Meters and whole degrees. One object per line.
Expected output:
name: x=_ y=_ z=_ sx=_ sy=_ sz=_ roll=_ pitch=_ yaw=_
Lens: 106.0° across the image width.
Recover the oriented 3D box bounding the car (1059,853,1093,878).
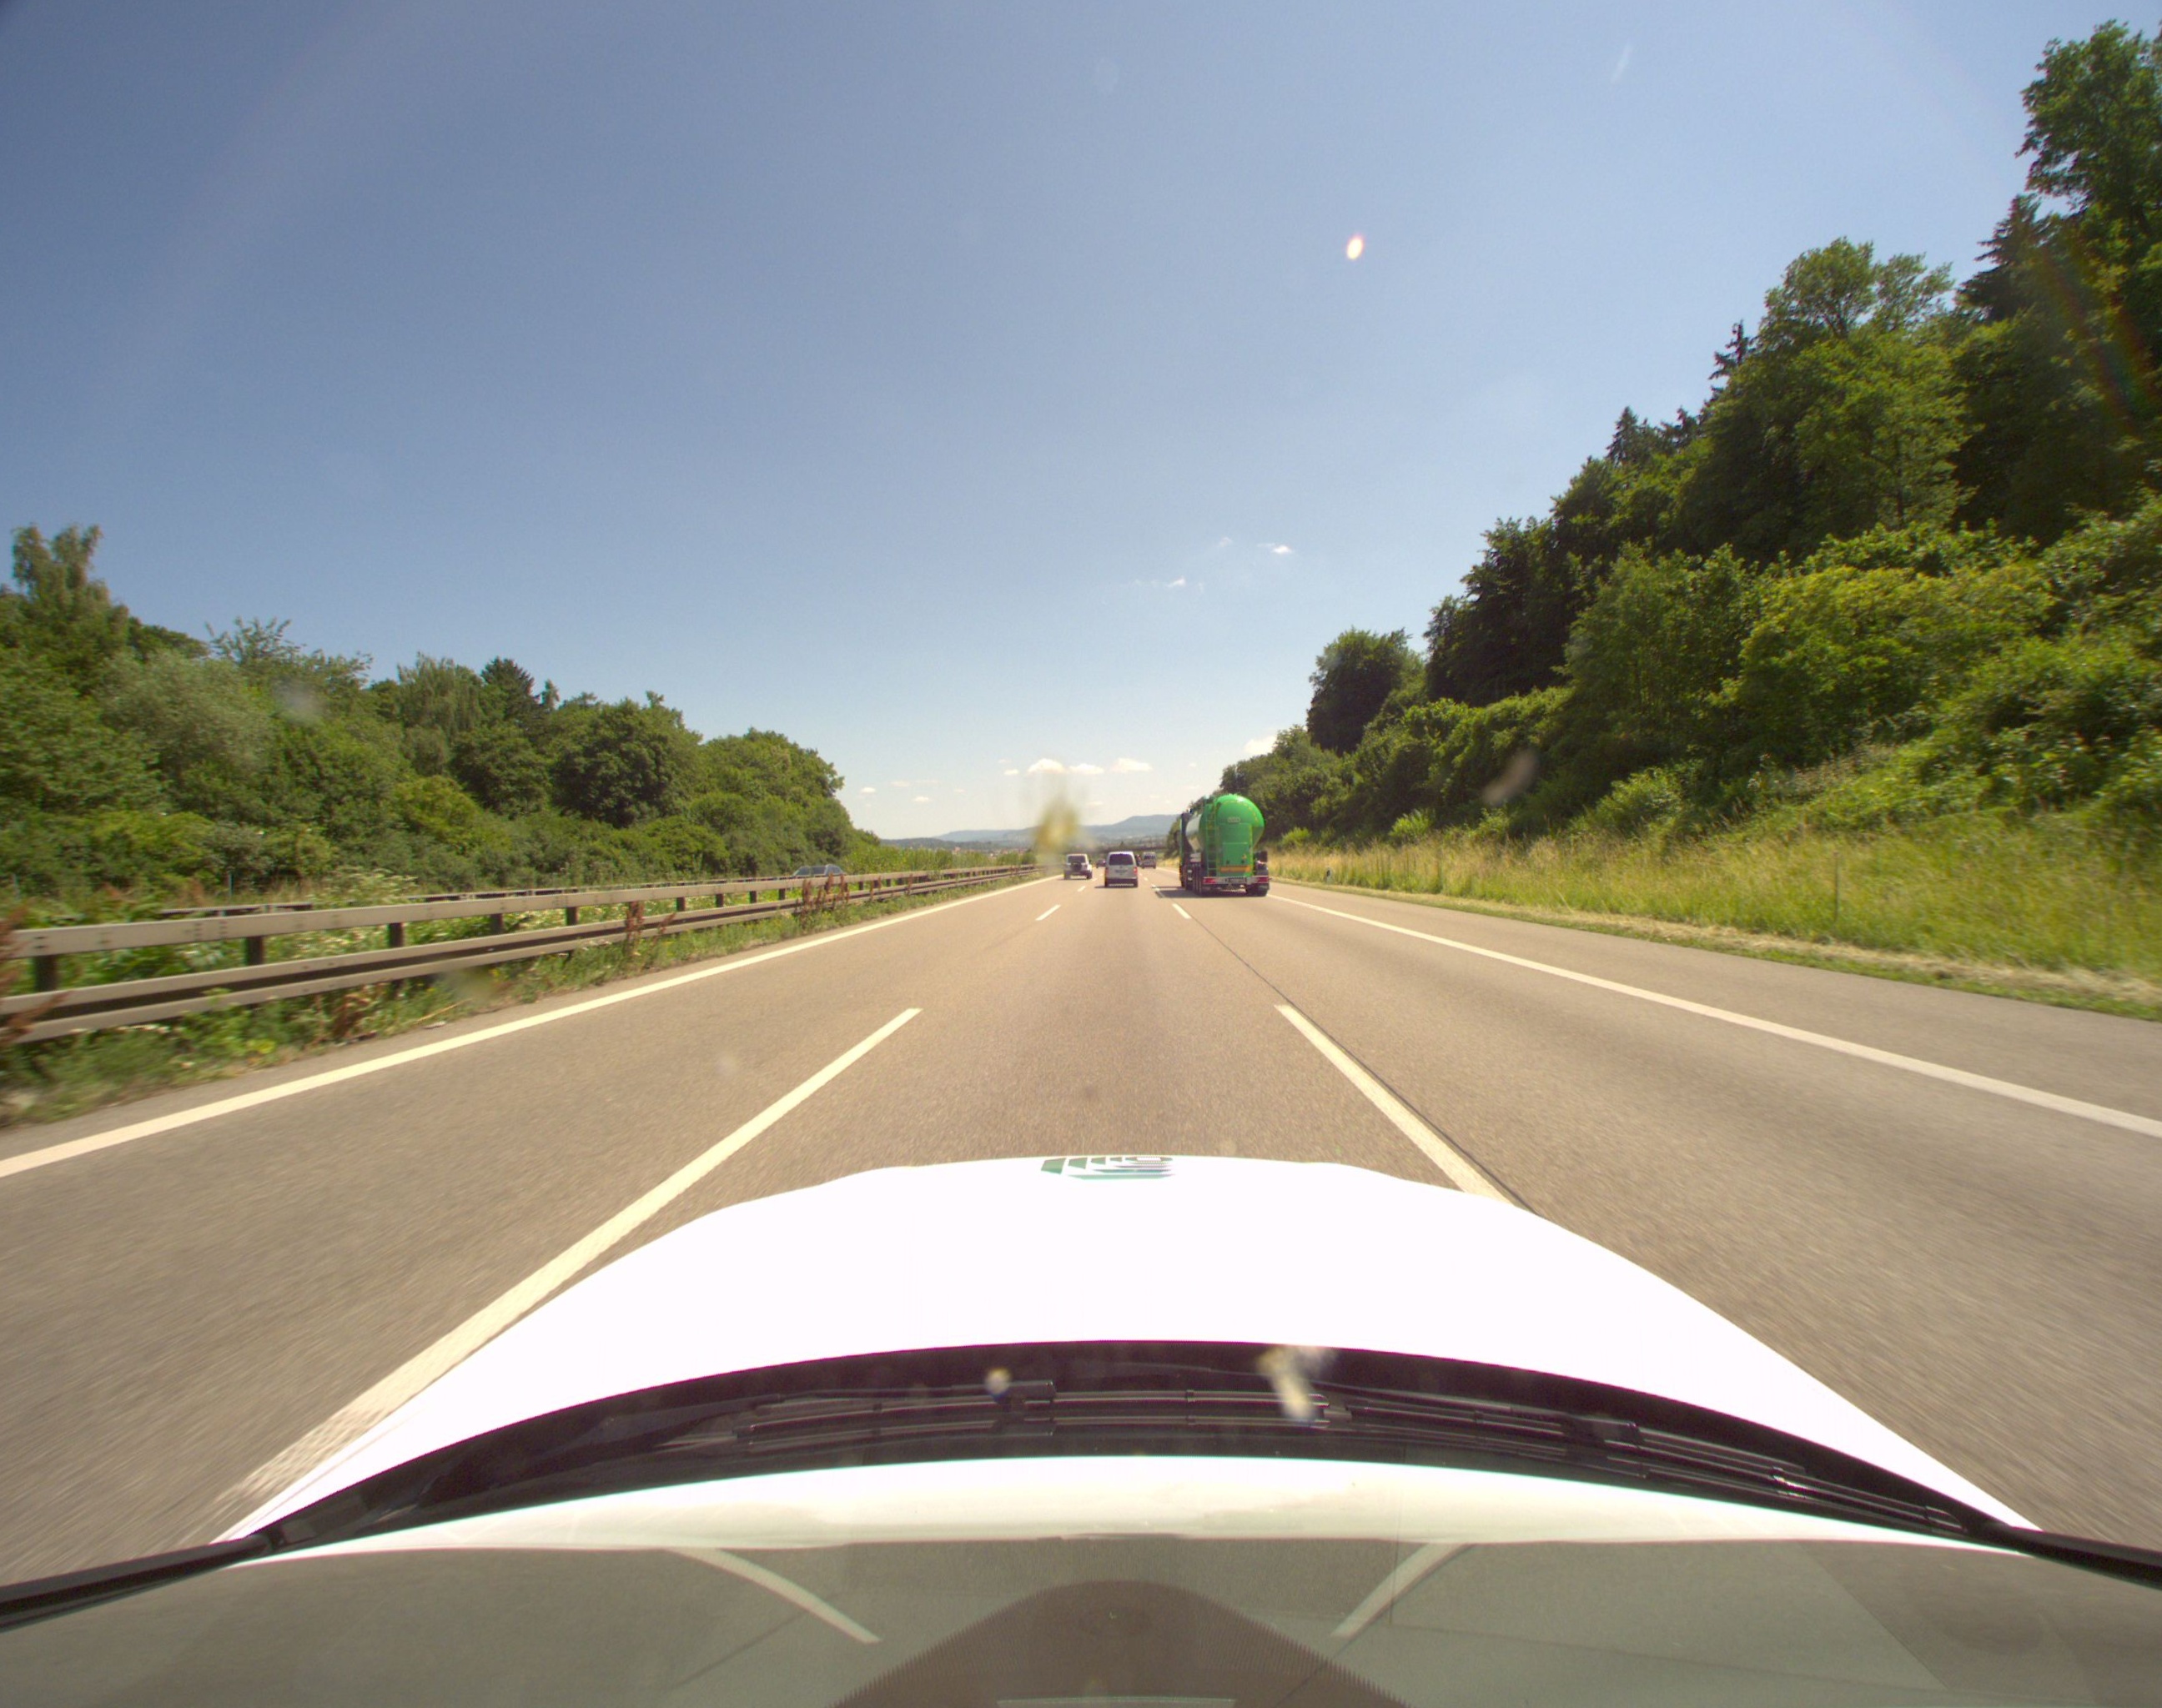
car: x=-0.311 y=0.821 z=60.727 sx=2.074 sy=1.829 sz=4.759 roll=-1 pitch=0 yaw=4

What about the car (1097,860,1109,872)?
car: x=4.001 y=2.169 z=148.563 sx=1.985 sy=2.013 sz=4.003 roll=-1 pitch=0 yaw=3

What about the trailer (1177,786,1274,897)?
trailer: x=5.887 y=-0.453 z=34.937 sx=2.577 sy=4.028 sz=10.474 roll=-1 pitch=0 yaw=2

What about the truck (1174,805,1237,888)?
truck: x=6.040 y=-0.341 z=40.164 sx=2.500 sy=3.842 sz=4.894 roll=-1 pitch=0 yaw=2

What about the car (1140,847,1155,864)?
car: x=10.277 y=0.261 z=126.127 sx=2.080 sy=2.576 sz=6.629 roll=-1 pitch=0 yaw=4

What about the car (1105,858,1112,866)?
car: x=7.518 y=2.100 z=220.374 sx=1.690 sy=2.013 sz=3.826 roll=-1 pitch=0 yaw=4

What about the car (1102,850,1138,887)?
car: x=2.023 y=0.727 z=43.231 sx=1.739 sy=1.829 sz=4.802 roll=-1 pitch=0 yaw=1
